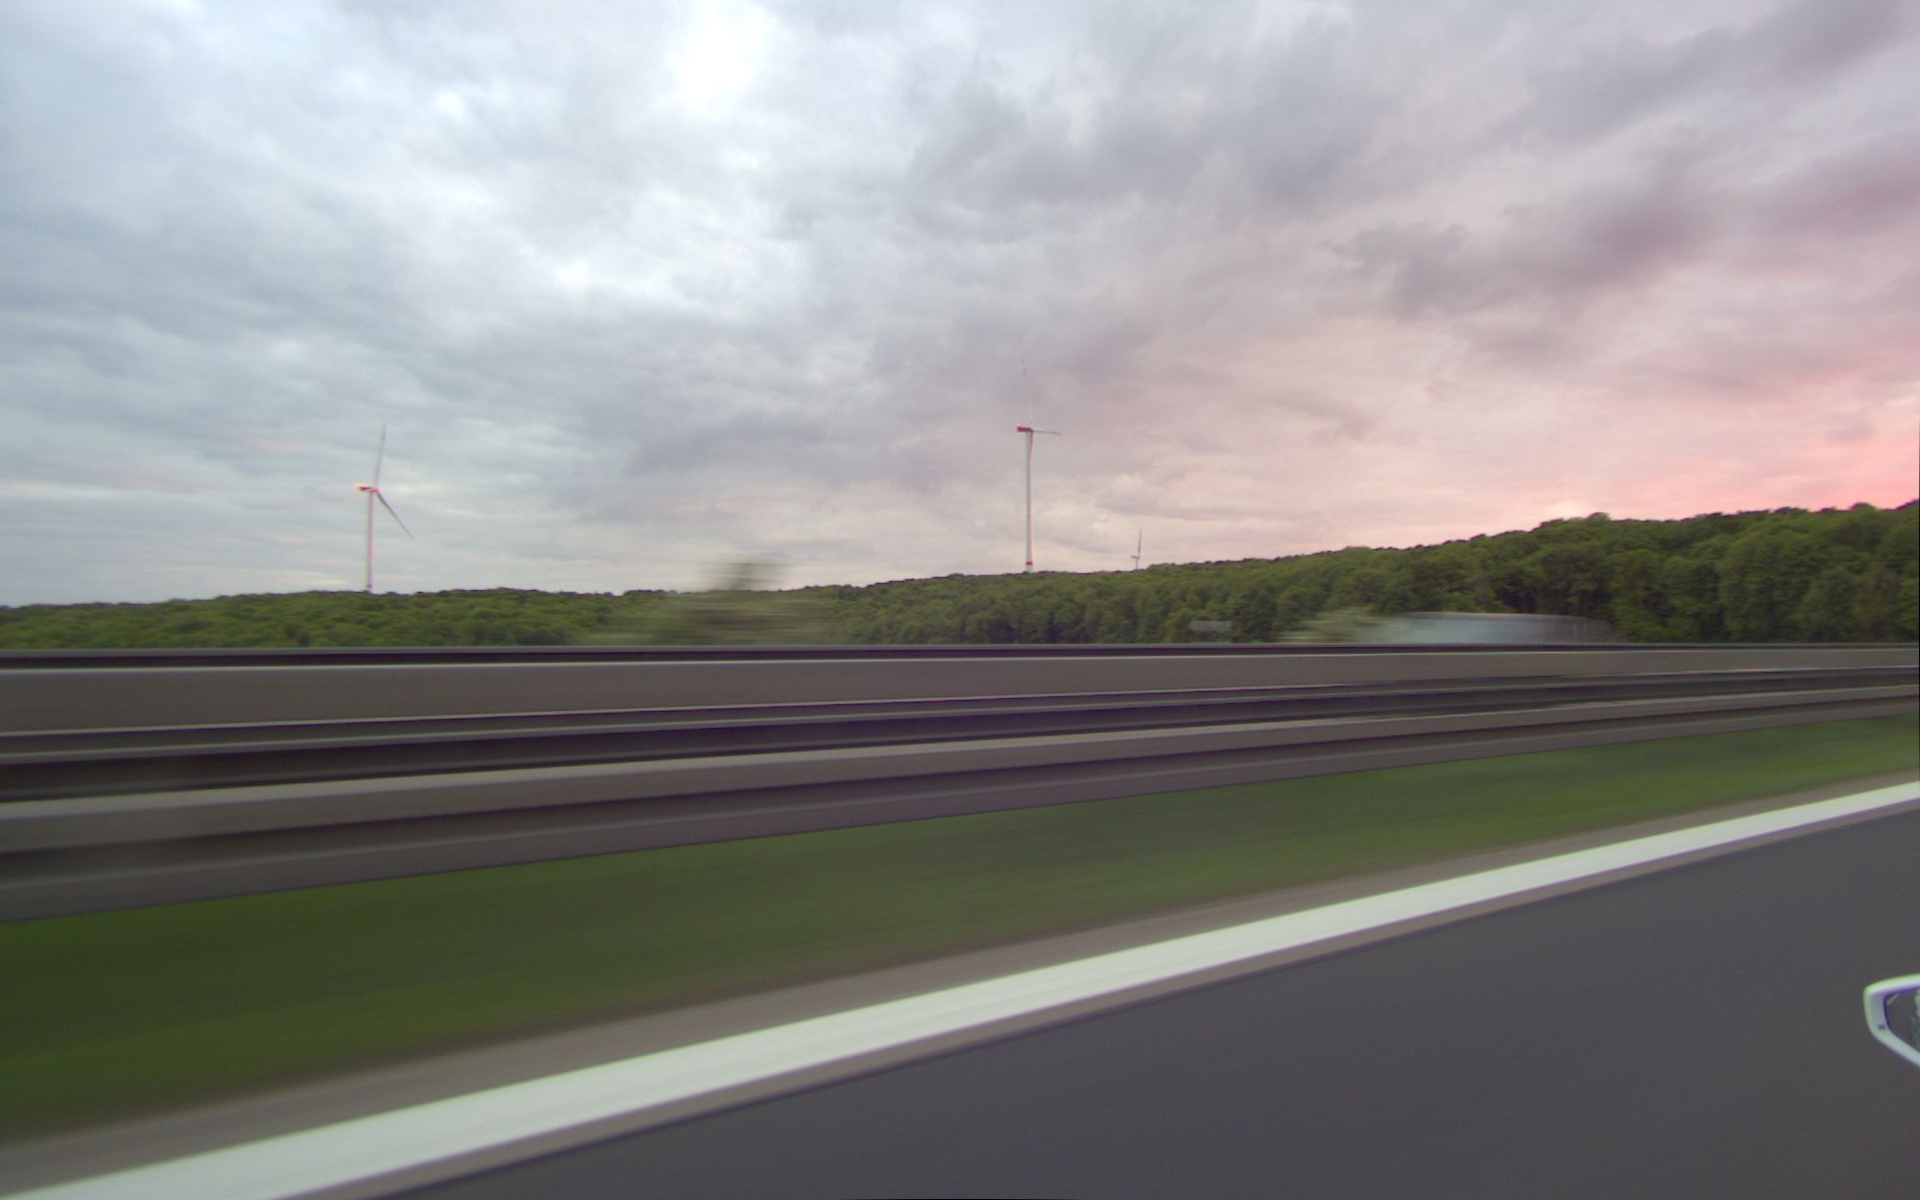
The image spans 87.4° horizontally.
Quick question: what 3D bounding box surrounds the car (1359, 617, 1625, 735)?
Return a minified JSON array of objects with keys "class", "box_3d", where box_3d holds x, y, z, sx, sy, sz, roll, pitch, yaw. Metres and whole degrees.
[{"class":"car","box_3d":[8.383,1.126,15.727,4.361,1.617,1.831,1,-3,-34]}]
